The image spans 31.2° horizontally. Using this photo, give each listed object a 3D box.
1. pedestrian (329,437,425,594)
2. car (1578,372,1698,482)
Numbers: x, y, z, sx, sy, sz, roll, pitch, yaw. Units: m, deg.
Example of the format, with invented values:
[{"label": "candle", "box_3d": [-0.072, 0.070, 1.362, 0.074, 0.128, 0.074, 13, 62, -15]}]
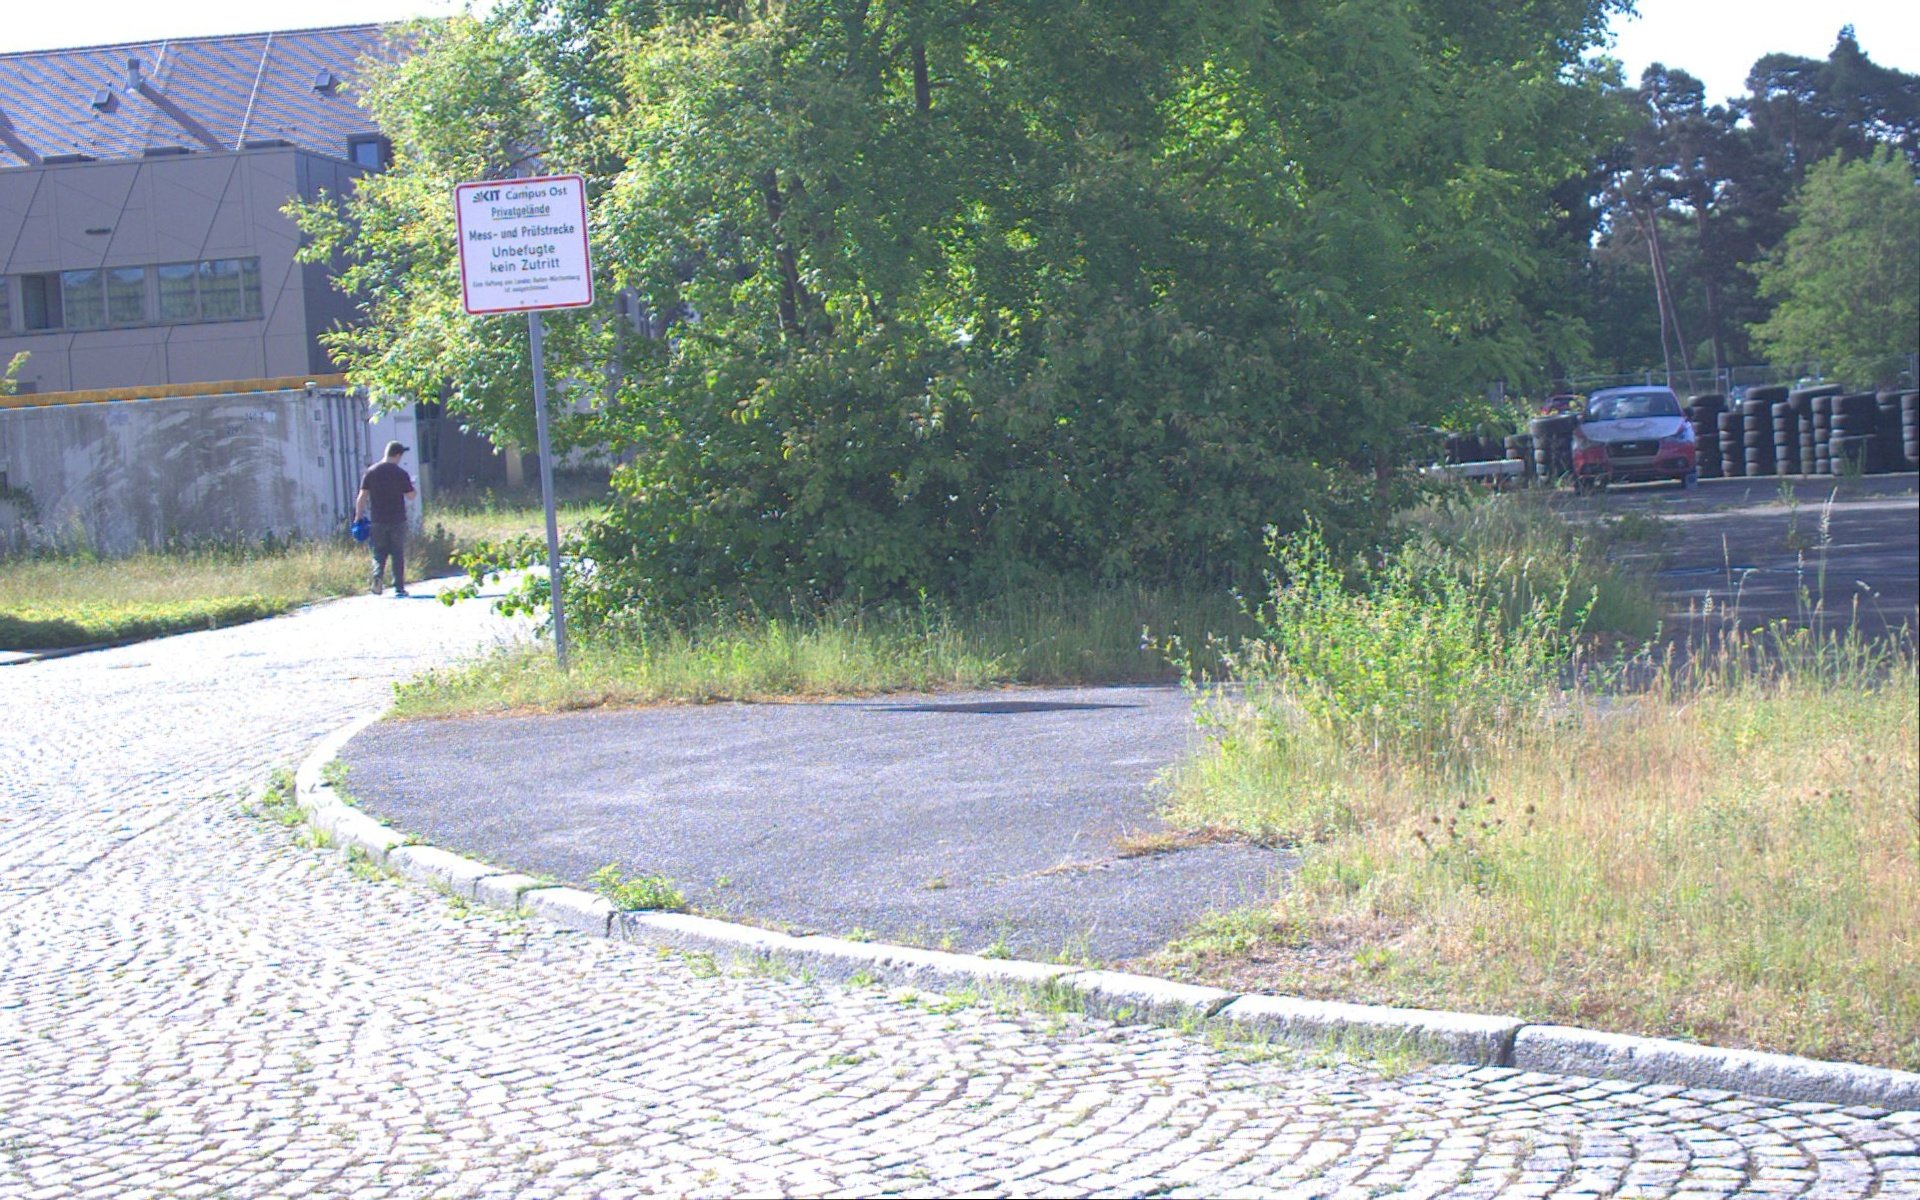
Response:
[{"label": "pedestrian", "box_3d": [-6.791, -0.991, 40.078, 0.795, 1.774, 1.068, -2, 3, 5]}, {"label": "car", "box_3d": [9.572, -2.452, 48.432, 1.541, 1.402, 3.576, -3, 3, 12]}]
